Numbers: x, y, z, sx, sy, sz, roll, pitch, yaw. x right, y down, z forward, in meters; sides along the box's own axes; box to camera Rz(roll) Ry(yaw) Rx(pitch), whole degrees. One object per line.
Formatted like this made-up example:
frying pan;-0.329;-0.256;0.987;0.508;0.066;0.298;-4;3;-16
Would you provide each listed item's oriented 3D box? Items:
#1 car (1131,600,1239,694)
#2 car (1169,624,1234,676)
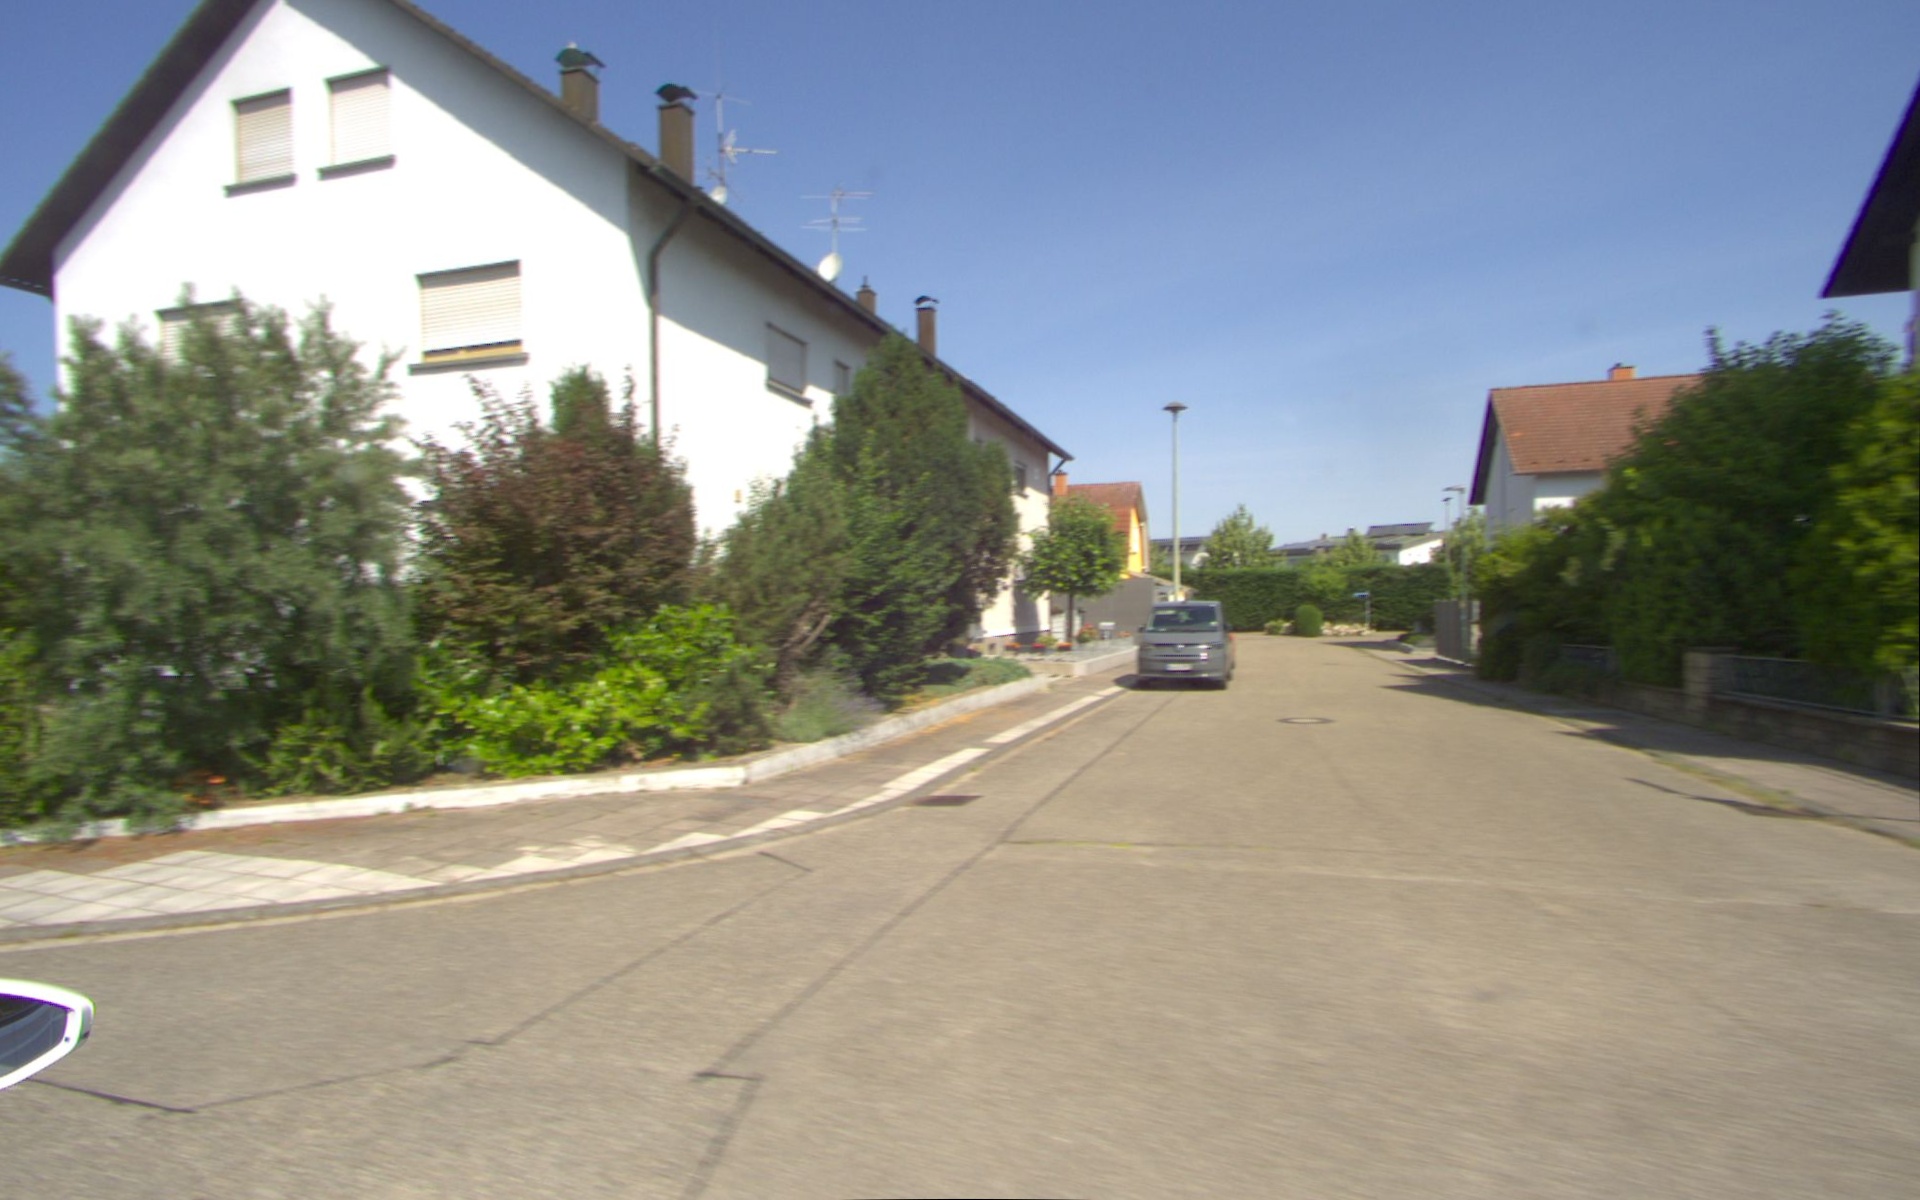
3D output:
car;5.166;0.979;22.565;1.874;1.894;4.363;-1;-1;19
car;6.978;1.384;28.777;1.627;1.382;3.774;0;-1;16
